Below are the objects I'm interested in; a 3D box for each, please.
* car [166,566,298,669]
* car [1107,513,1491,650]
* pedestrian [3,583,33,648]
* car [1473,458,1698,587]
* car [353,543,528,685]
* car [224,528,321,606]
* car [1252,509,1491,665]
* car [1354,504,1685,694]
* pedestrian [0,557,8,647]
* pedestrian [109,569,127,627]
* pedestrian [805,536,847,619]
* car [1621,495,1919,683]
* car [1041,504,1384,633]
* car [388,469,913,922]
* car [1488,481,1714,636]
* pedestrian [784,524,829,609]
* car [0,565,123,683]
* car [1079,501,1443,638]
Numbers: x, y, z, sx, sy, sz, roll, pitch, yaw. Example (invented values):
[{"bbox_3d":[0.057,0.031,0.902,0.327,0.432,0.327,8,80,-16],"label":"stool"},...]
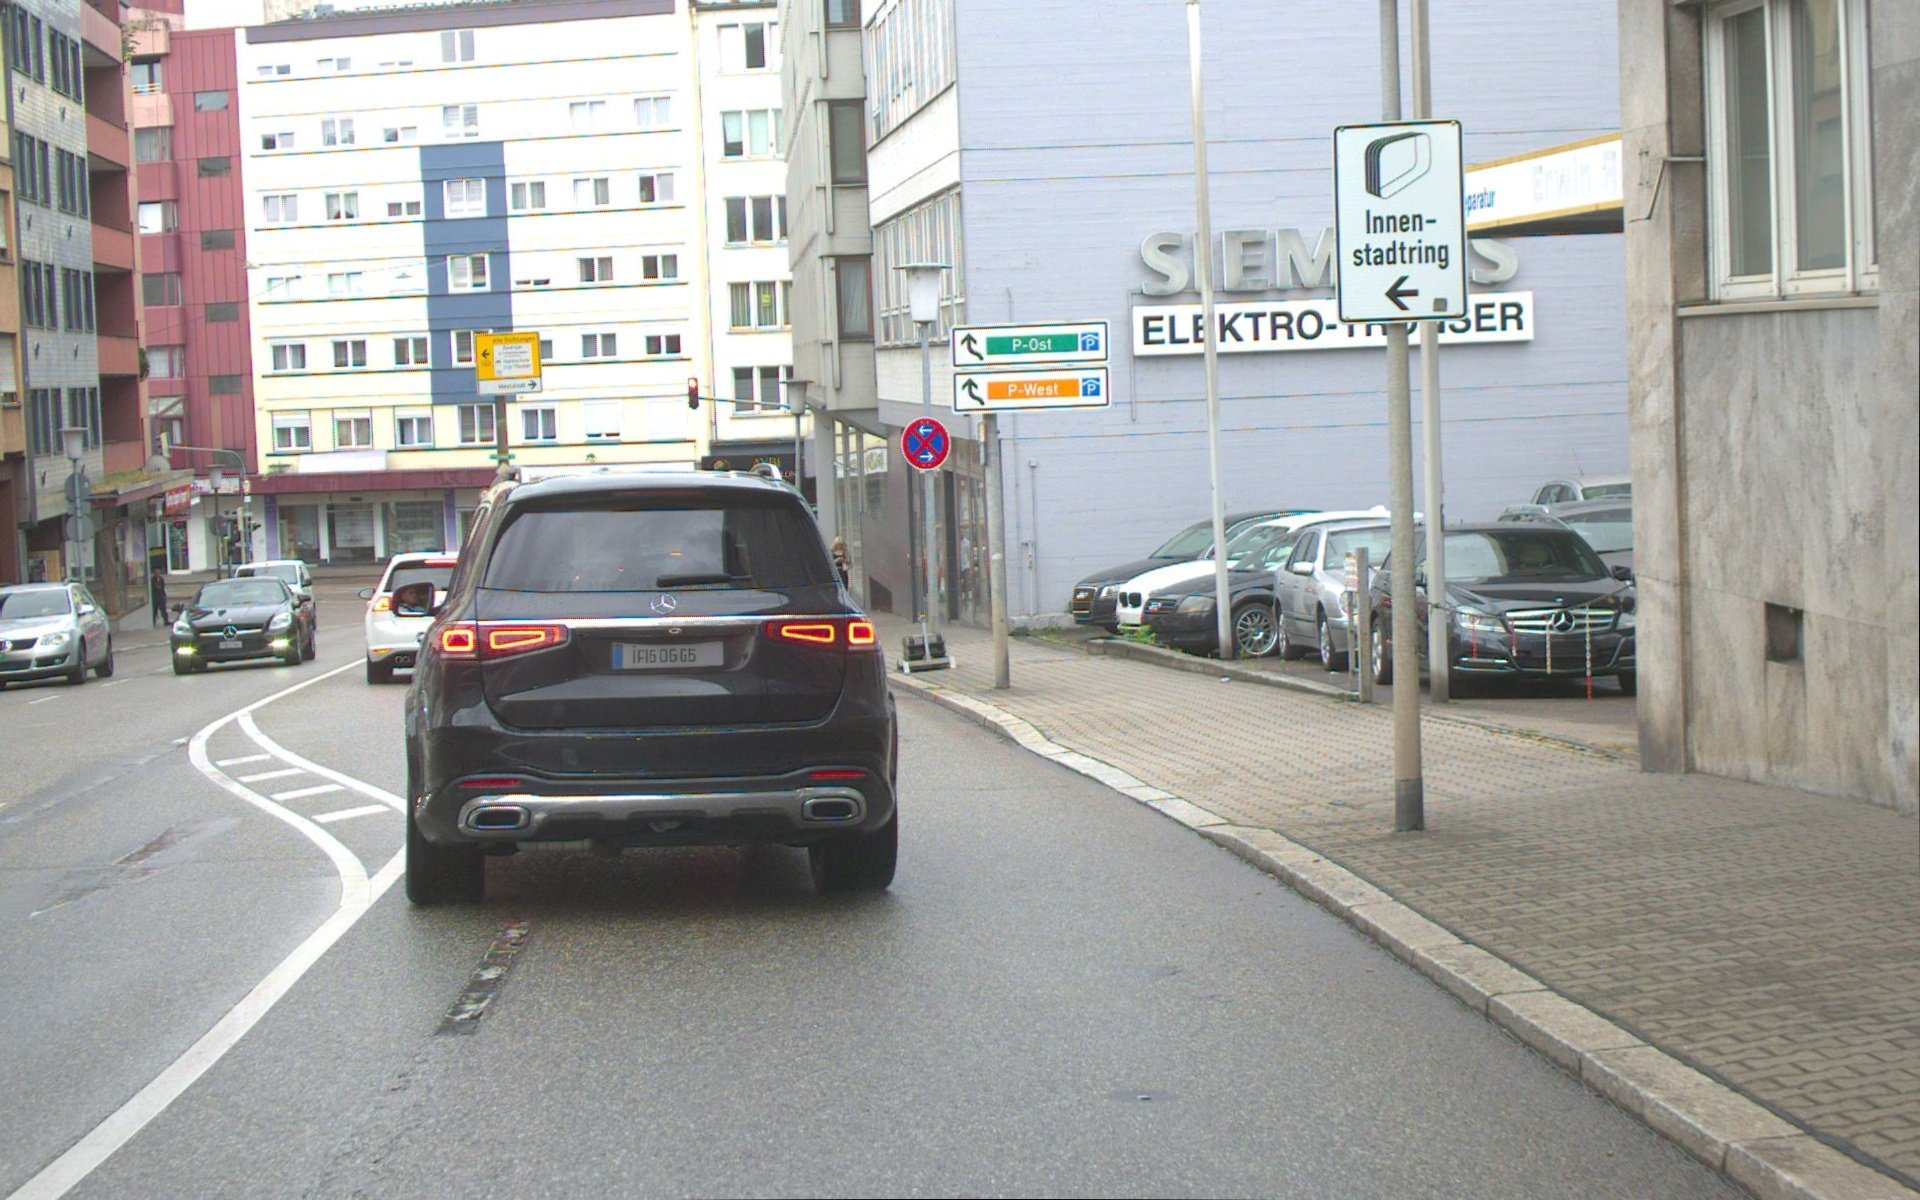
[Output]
[{"bbox_3d":[-10.478,0.222,49.701,1.714,1.313,4.145,-2,2,-10],"label":"car"},{"bbox_3d":[3.847,-0.218,38.995,3.986,1.489,1.733,-1,0,-24],"label":"car"},{"bbox_3d":[-17.717,0.285,64.644,0.425,1.158,0.587,-2,5,-8],"label":"pedestrian"},{"bbox_3d":[8.203,-0.988,45.428,1.644,1.592,3.868,-1,0,-10],"label":"car"},{"bbox_3d":[-6.050,0.115,39.774,1.830,1.456,4.380,-3,1,-10],"label":"car"},{"bbox_3d":[-16.825,-0.831,84.290,1.869,1.747,4.400,-4,2,-6],"label":"car"},{"bbox_3d":[4.101,-0.165,34.815,1.565,1.472,4.071,-1,1,-5],"label":"car"},{"bbox_3d":[4.654,-0.058,29.246,1.796,1.472,4.486,-1,1,-4],"label":"car"},{"bbox_3d":[-18.346,0.042,64.762,0.671,1.646,0.606,-2,5,-8],"label":"pedestrian"},{"bbox_3d":[-21.781,-0.047,88.907,0.318,1.469,0.339,-1,5,-1],"label":"pedestrian"},{"bbox_3d":[-2.645,-0.448,67.911,0.717,1.606,0.611,-2,3,-8],"label":"pedestrian"},{"bbox_3d":[7.073,-0.140,29.781,1.797,1.472,4.485,-1,1,0],"label":"car"},{"bbox_3d":[3.238,-0.406,44.095,3.986,1.592,1.799,-1,0,-24],"label":"car"},{"bbox_3d":[-1.499,0.319,15.642,2.020,1.733,4.748,0,1,-8],"label":"car"},{"bbox_3d":[6.576,-0.401,35.541,1.527,1.507,3.392,-1,0,-3],"label":"car"},{"bbox_3d":[-2.998,-0.657,67.121,0.769,1.606,0.704,-2,3,-8],"label":"pedestrian"},{"bbox_3d":[-13.182,0.344,49.142,1.744,1.533,4.644,-4,1,-7],"label":"car"},{"bbox_3d":[3.634,-0.364,41.506,3.986,1.592,1.799,-1,0,-24],"label":"car"}]
